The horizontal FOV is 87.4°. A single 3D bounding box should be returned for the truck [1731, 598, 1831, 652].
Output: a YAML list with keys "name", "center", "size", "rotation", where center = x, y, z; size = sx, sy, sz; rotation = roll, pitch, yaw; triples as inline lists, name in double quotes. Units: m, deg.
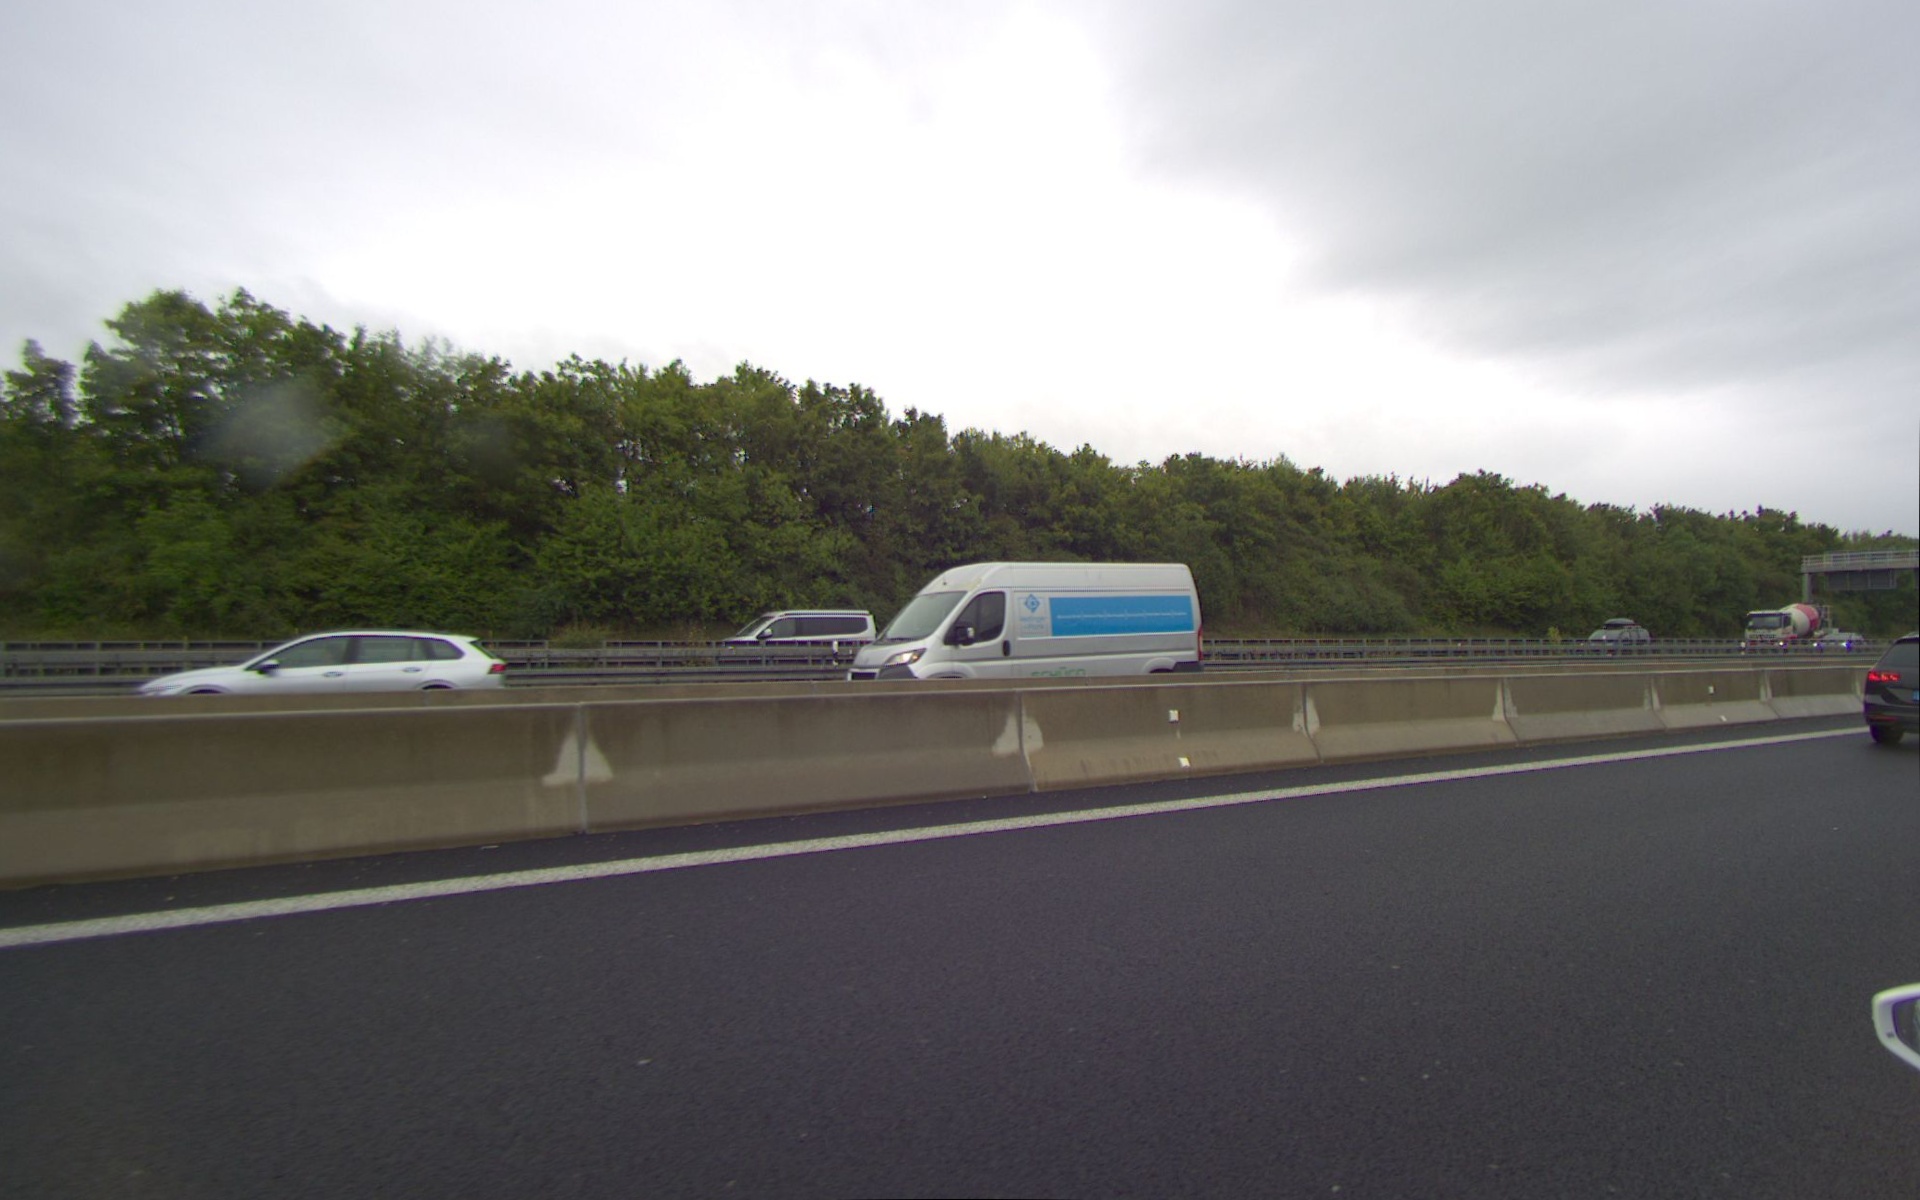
- name: "truck"
  center: [59.816, 1.865, 73.108]
  size: [9.450, 3.709, 2.671]
  rotation: [1, -1, -32]

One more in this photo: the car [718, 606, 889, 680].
- name: "car"
  center: [-4.648, 1.246, 30.040]
  size: [4.663, 2.040, 1.983]
  rotation: [2, 0, -32]

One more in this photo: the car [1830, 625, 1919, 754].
- name: "car"
  center: [13.330, 1.113, 12.946]
  size: [4.746, 1.478, 1.779]
  rotation: [1, 0, -31]

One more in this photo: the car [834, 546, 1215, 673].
- name: "car"
  center: [1.140, 0.201, 16.112]
  size: [5.841, 1.715, 2.345]
  rotation: [1, -1, -32]

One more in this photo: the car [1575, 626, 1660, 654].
- name: "car"
  center: [35.640, 2.155, 54.428]
  size: [4.621, 1.425, 1.984]
  rotation: [1, -1, -30]

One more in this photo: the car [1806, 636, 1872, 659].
- name: "car"
  center: [59.059, 3.163, 67.506]
  size: [4.621, 1.425, 1.984]
  rotation: [1, -1, -30]

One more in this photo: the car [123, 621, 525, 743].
- name: "car"
  center: [-8.947, 1.083, 14.581]
  size: [4.626, 1.454, 1.983]
  rotation: [1, 0, -31]
